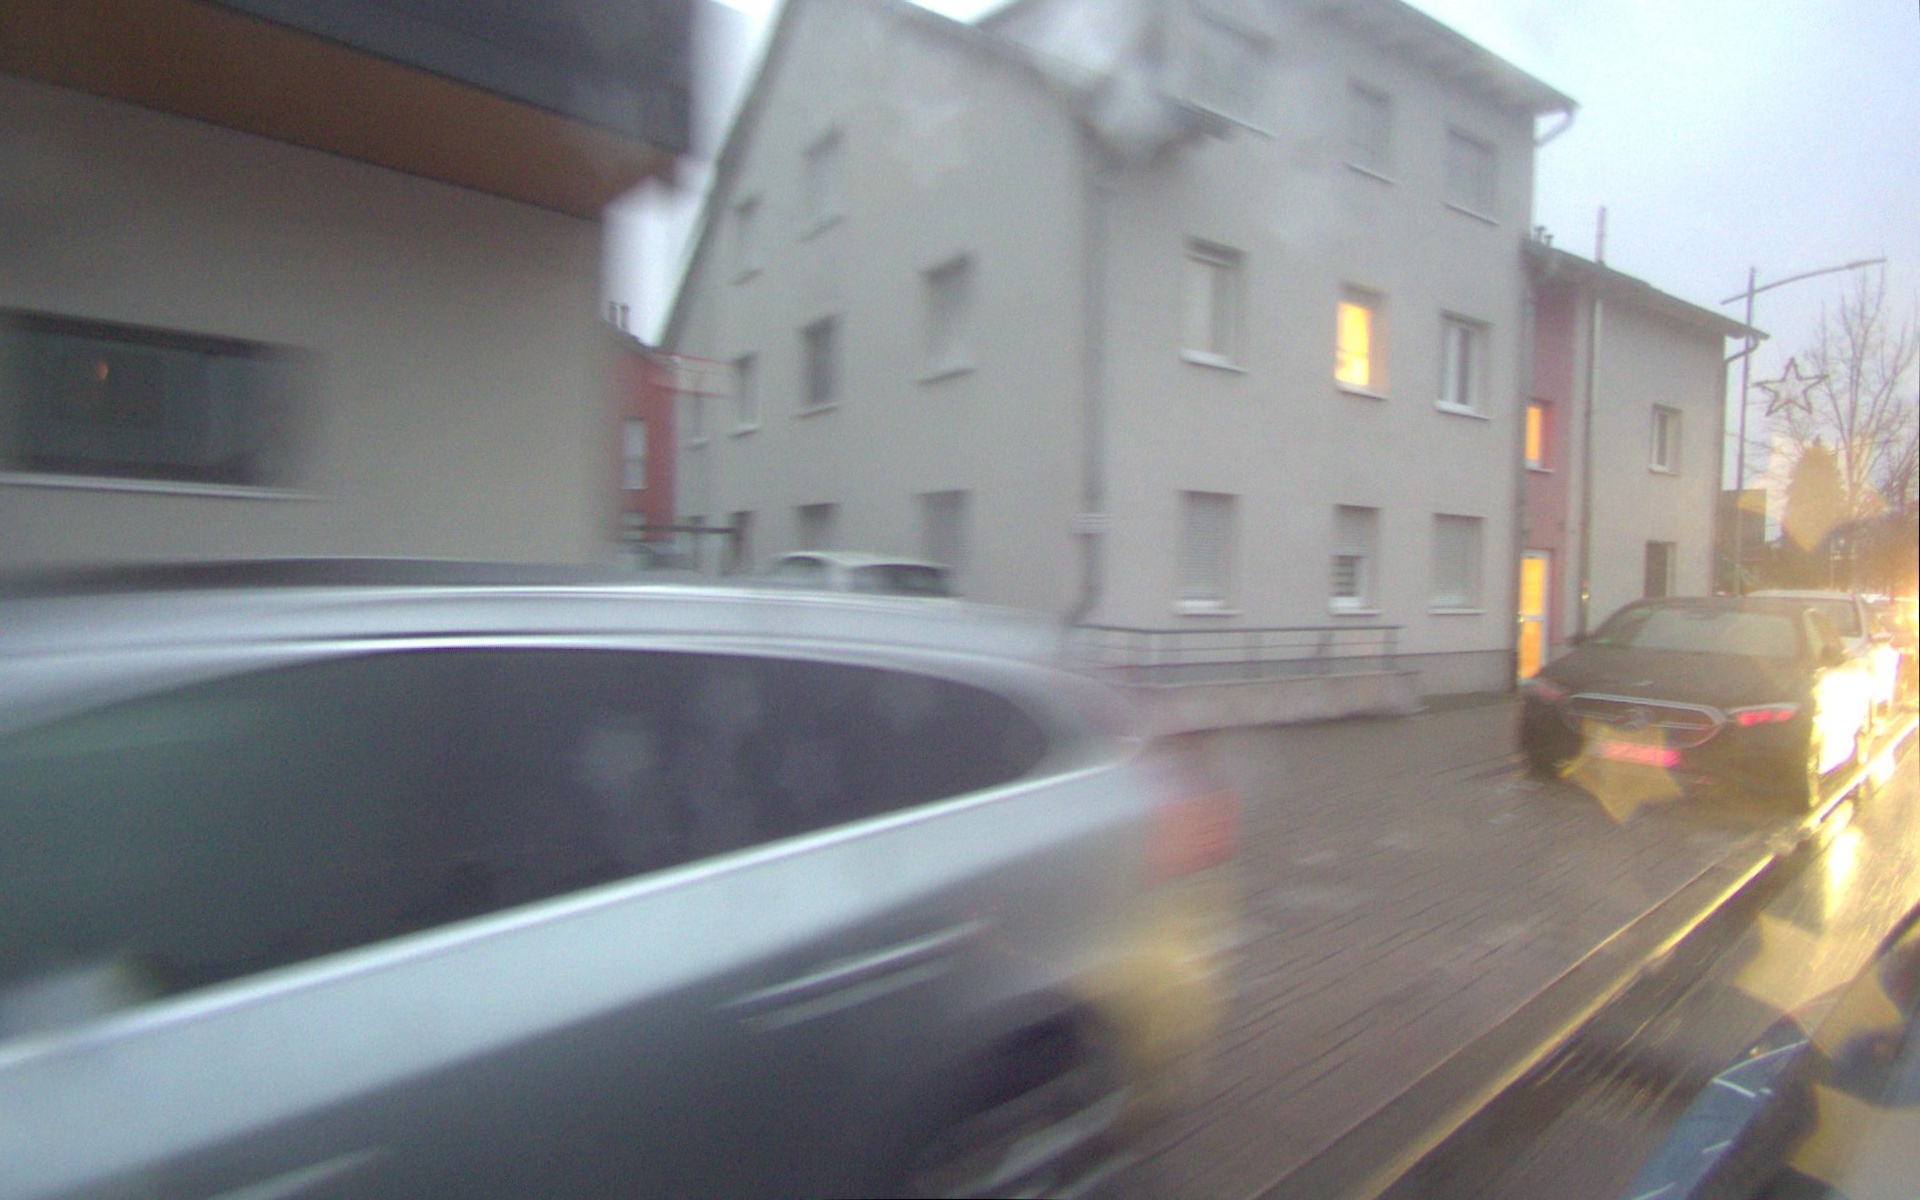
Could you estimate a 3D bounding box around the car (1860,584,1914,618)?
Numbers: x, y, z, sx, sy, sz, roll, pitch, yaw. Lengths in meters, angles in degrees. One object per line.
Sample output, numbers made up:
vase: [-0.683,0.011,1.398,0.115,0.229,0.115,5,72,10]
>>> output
car: [54.042,0.049,59.068,1.908,1.812,4.503,3,2,38]

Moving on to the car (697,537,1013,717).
car: [-1.367,0.155,11.463,1.770,1.620,4.022,1,3,-35]

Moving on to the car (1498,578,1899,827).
car: [6.582,0.648,8.756,4.925,1.552,1.958,0,-1,-44]

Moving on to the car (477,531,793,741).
car: [-3.347,0.170,9.830,1.828,1.574,4.163,0,3,-34]

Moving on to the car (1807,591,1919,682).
car: [17.256,0.621,19.020,1.704,1.469,4.124,4,2,44]

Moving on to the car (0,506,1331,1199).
car: [-1.233,0.603,1.738,4.164,1.472,1.656,0,4,-41]

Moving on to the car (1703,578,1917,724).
car: [11.415,0.556,13.474,4.422,1.595,1.666,0,2,-44]

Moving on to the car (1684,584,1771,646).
car: [21.965,0.358,28.988,1.804,1.571,4.246,3,2,37]

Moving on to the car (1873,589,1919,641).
car: [31.069,0.465,32.862,4.234,1.583,1.809,0,3,-45]
